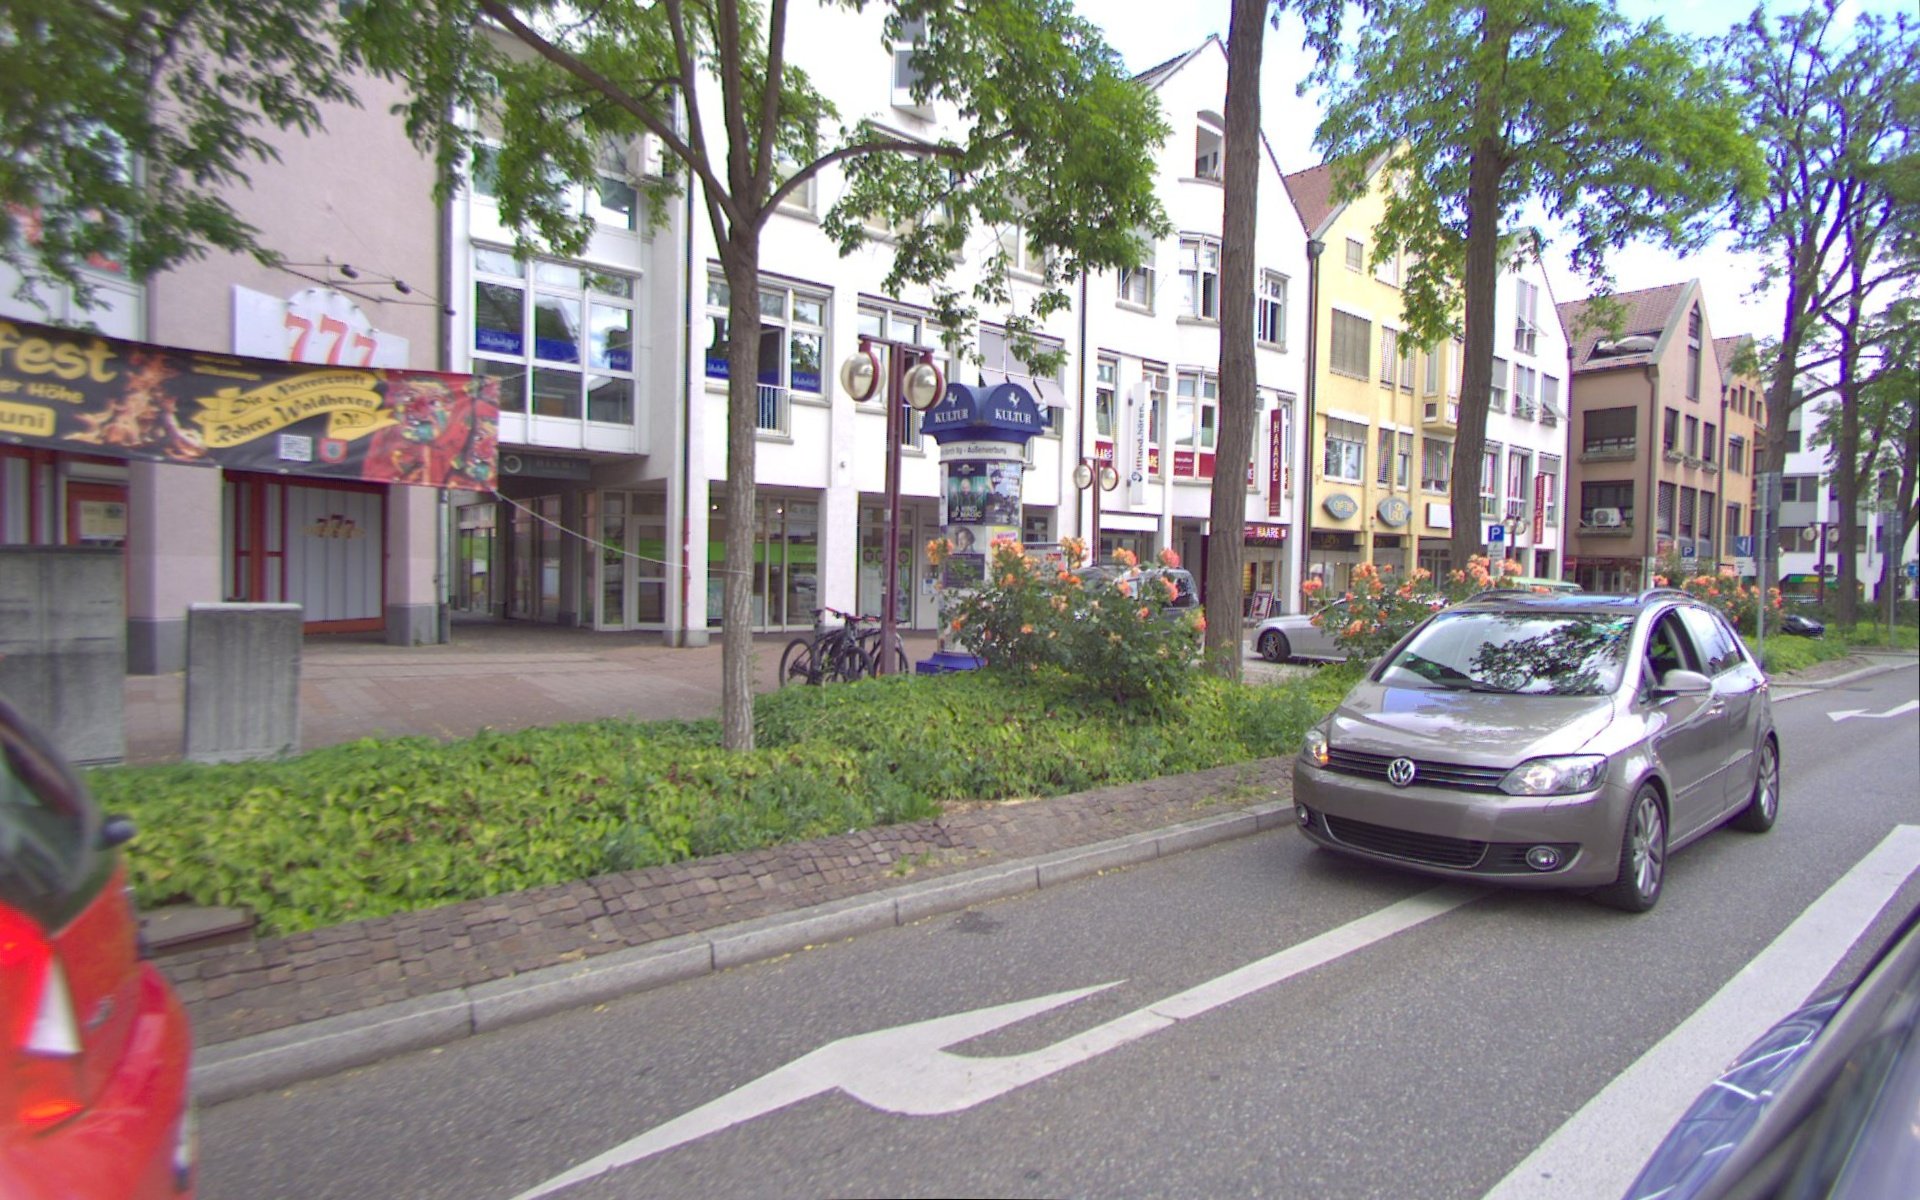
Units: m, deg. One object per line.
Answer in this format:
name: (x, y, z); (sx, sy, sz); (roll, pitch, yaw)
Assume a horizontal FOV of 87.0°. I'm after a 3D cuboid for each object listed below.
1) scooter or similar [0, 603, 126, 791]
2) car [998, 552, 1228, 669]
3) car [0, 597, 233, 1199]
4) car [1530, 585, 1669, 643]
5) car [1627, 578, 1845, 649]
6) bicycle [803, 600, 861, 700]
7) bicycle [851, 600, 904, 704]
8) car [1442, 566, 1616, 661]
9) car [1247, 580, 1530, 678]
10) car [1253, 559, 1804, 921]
scooter or similar: (-6.146, 0.601, 5.956); (0.468, 1.101, 1.866); (2, 2, 33)
car: (2.808, 0.131, 18.004); (4.187, 1.826, 1.737); (0, 3, -42)
car: (-2.886, 0.734, 0.884); (3.576, 1.467, 1.630); (0, 0, -39)
car: (16.900, 0.310, 26.645); (4.672, 1.325, 1.842); (-1, 3, -42)
car: (22.120, 0.324, 28.973); (4.738, 1.699, 1.969); (4, 2, 43)
bicycle: (-1.496, 0.555, 11.990); (0.399, 1.061, 1.568); (1, 1, 3)
bicycle: (-0.925, 0.554, 11.613); (0.399, 1.061, 1.568); (1, 1, 3)
car: (12.998, 0.218, 23.018); (4.672, 1.899, 1.997); (-1, 3, -42)
car: (7.909, 0.443, 19.102); (1.708, 1.471, 4.650); (0, 3, -39)
car: (3.717, 0.598, 6.323); (3.930, 1.549, 1.800); (0, 0, -41)
